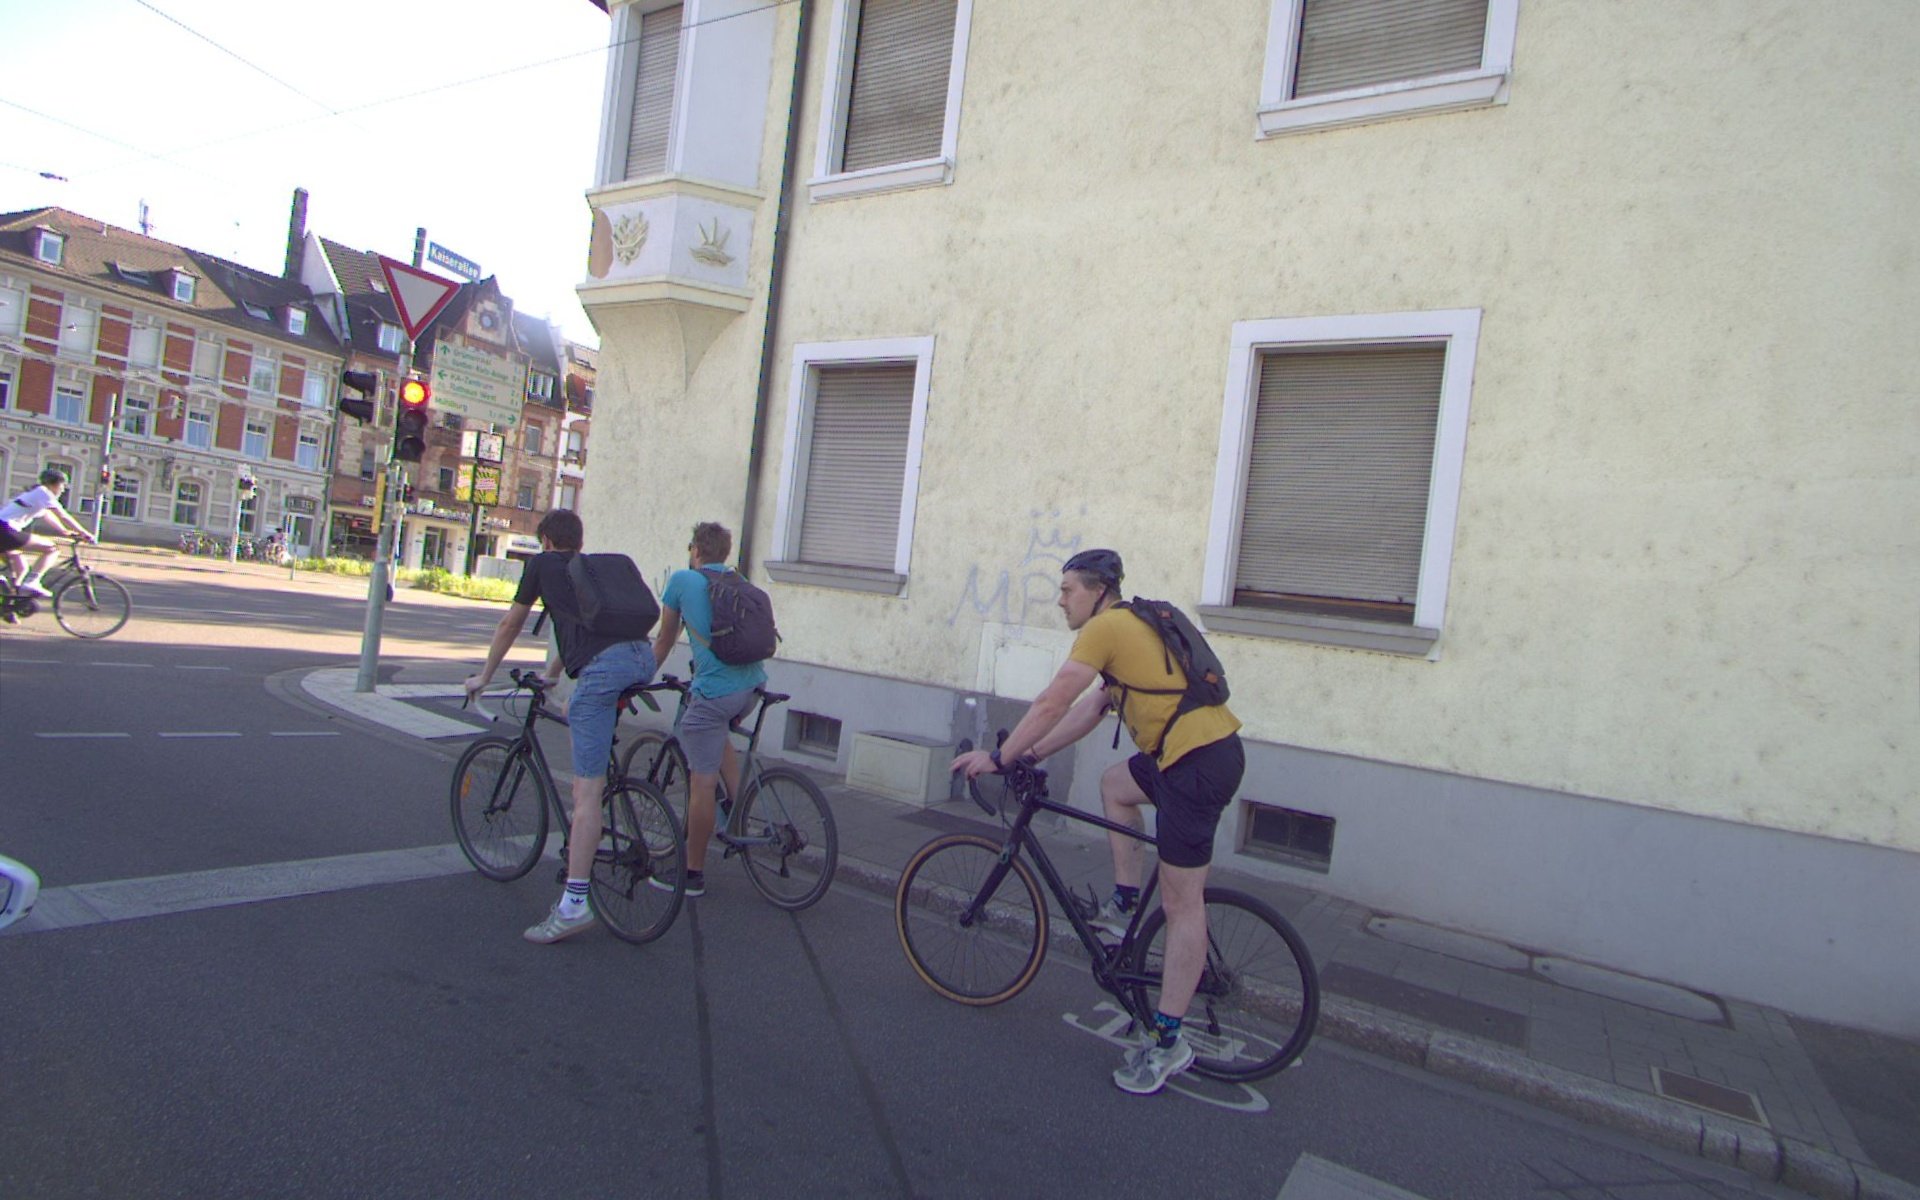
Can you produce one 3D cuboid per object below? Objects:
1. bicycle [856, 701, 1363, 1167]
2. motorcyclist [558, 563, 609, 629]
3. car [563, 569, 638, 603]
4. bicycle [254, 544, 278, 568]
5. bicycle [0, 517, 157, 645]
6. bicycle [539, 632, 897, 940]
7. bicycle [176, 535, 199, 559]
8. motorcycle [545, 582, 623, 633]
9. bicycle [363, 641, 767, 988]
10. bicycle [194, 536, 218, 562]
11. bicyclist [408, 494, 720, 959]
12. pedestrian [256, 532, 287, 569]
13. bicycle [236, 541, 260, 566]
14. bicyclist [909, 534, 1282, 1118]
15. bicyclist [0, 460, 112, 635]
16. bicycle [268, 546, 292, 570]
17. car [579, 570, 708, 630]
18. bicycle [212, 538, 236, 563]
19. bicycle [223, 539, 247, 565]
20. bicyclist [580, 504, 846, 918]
[{"bbox_3d":[0.509,1.093,3.766,1.670,1.180,0.571,7,0,32],"label":"bicycle"},{"bbox_3d":[-9.444,-0.096,25.246,0.647,1.526,0.817,7,0,20],"label":"motorcyclist"},{"bbox_3d":[-23.274,-0.897,65.282,1.966,1.641,4.261,7,-1,29],"label":"car"},{"bbox_3d":[-33.312,-2.116,48.286,1.759,1.033,0.485,7,0,42],"label":"bicycle"},{"bbox_3d":[-9.900,-0.216,10.685,0.729,1.237,1.928,7,-1,24],"label":"bicycle"},{"bbox_3d":[-1.313,0.879,5.274,1.858,1.180,0.571,7,0,32],"label":"bicycle"},{"bbox_3d":[-35.066,-2.416,45.661,1.759,0.925,0.485,7,0,42],"label":"bicycle"},{"bbox_3d":[-9.440,0.213,25.349,0.495,1.132,2.032,7,-1,21],"label":"motorcycle"},{"bbox_3d":[-1.803,0.837,4.462,1.858,1.071,0.571,7,0,32],"label":"bicycle"},{"bbox_3d":[-34.641,-2.342,46.197,1.759,1.033,0.485,7,0,42],"label":"bicycle"},{"bbox_3d":[-1.754,0.494,4.463,0.978,1.788,0.652,7,0,32],"label":"bicyclist"},{"bbox_3d":[-35.342,-2.548,51.655,0.620,1.731,1.035,6,-1,40],"label":"pedestrian"},{"bbox_3d":[-33.675,-2.193,47.558,1.759,1.033,0.485,7,0,42],"label":"bicycle"},{"bbox_3d":[0.515,0.742,3.803,1.019,1.839,0.652,7,0,32],"label":"bicyclist"},{"bbox_3d":[-9.866,-0.554,10.694,0.720,1.733,0.941,7,0,25],"label":"bicyclist"},{"bbox_3d":[-33.092,-2.059,48.974,1.759,1.033,0.485,7,0,42],"label":"bicycle"},{"bbox_3d":[-10.365,0.028,33.262,1.710,1.516,3.967,7,-1,25],"label":"car"},{"bbox_3d":[-34.190,-2.293,46.743,1.759,1.033,0.485,7,0,42],"label":"bicycle"},{"bbox_3d":[-34.003,-2.252,47.166,1.759,1.033,0.485,7,0,42],"label":"bicycle"},{"bbox_3d":[-1.290,0.526,5.264,0.978,1.910,0.652,7,0,32],"label":"bicyclist"}]
